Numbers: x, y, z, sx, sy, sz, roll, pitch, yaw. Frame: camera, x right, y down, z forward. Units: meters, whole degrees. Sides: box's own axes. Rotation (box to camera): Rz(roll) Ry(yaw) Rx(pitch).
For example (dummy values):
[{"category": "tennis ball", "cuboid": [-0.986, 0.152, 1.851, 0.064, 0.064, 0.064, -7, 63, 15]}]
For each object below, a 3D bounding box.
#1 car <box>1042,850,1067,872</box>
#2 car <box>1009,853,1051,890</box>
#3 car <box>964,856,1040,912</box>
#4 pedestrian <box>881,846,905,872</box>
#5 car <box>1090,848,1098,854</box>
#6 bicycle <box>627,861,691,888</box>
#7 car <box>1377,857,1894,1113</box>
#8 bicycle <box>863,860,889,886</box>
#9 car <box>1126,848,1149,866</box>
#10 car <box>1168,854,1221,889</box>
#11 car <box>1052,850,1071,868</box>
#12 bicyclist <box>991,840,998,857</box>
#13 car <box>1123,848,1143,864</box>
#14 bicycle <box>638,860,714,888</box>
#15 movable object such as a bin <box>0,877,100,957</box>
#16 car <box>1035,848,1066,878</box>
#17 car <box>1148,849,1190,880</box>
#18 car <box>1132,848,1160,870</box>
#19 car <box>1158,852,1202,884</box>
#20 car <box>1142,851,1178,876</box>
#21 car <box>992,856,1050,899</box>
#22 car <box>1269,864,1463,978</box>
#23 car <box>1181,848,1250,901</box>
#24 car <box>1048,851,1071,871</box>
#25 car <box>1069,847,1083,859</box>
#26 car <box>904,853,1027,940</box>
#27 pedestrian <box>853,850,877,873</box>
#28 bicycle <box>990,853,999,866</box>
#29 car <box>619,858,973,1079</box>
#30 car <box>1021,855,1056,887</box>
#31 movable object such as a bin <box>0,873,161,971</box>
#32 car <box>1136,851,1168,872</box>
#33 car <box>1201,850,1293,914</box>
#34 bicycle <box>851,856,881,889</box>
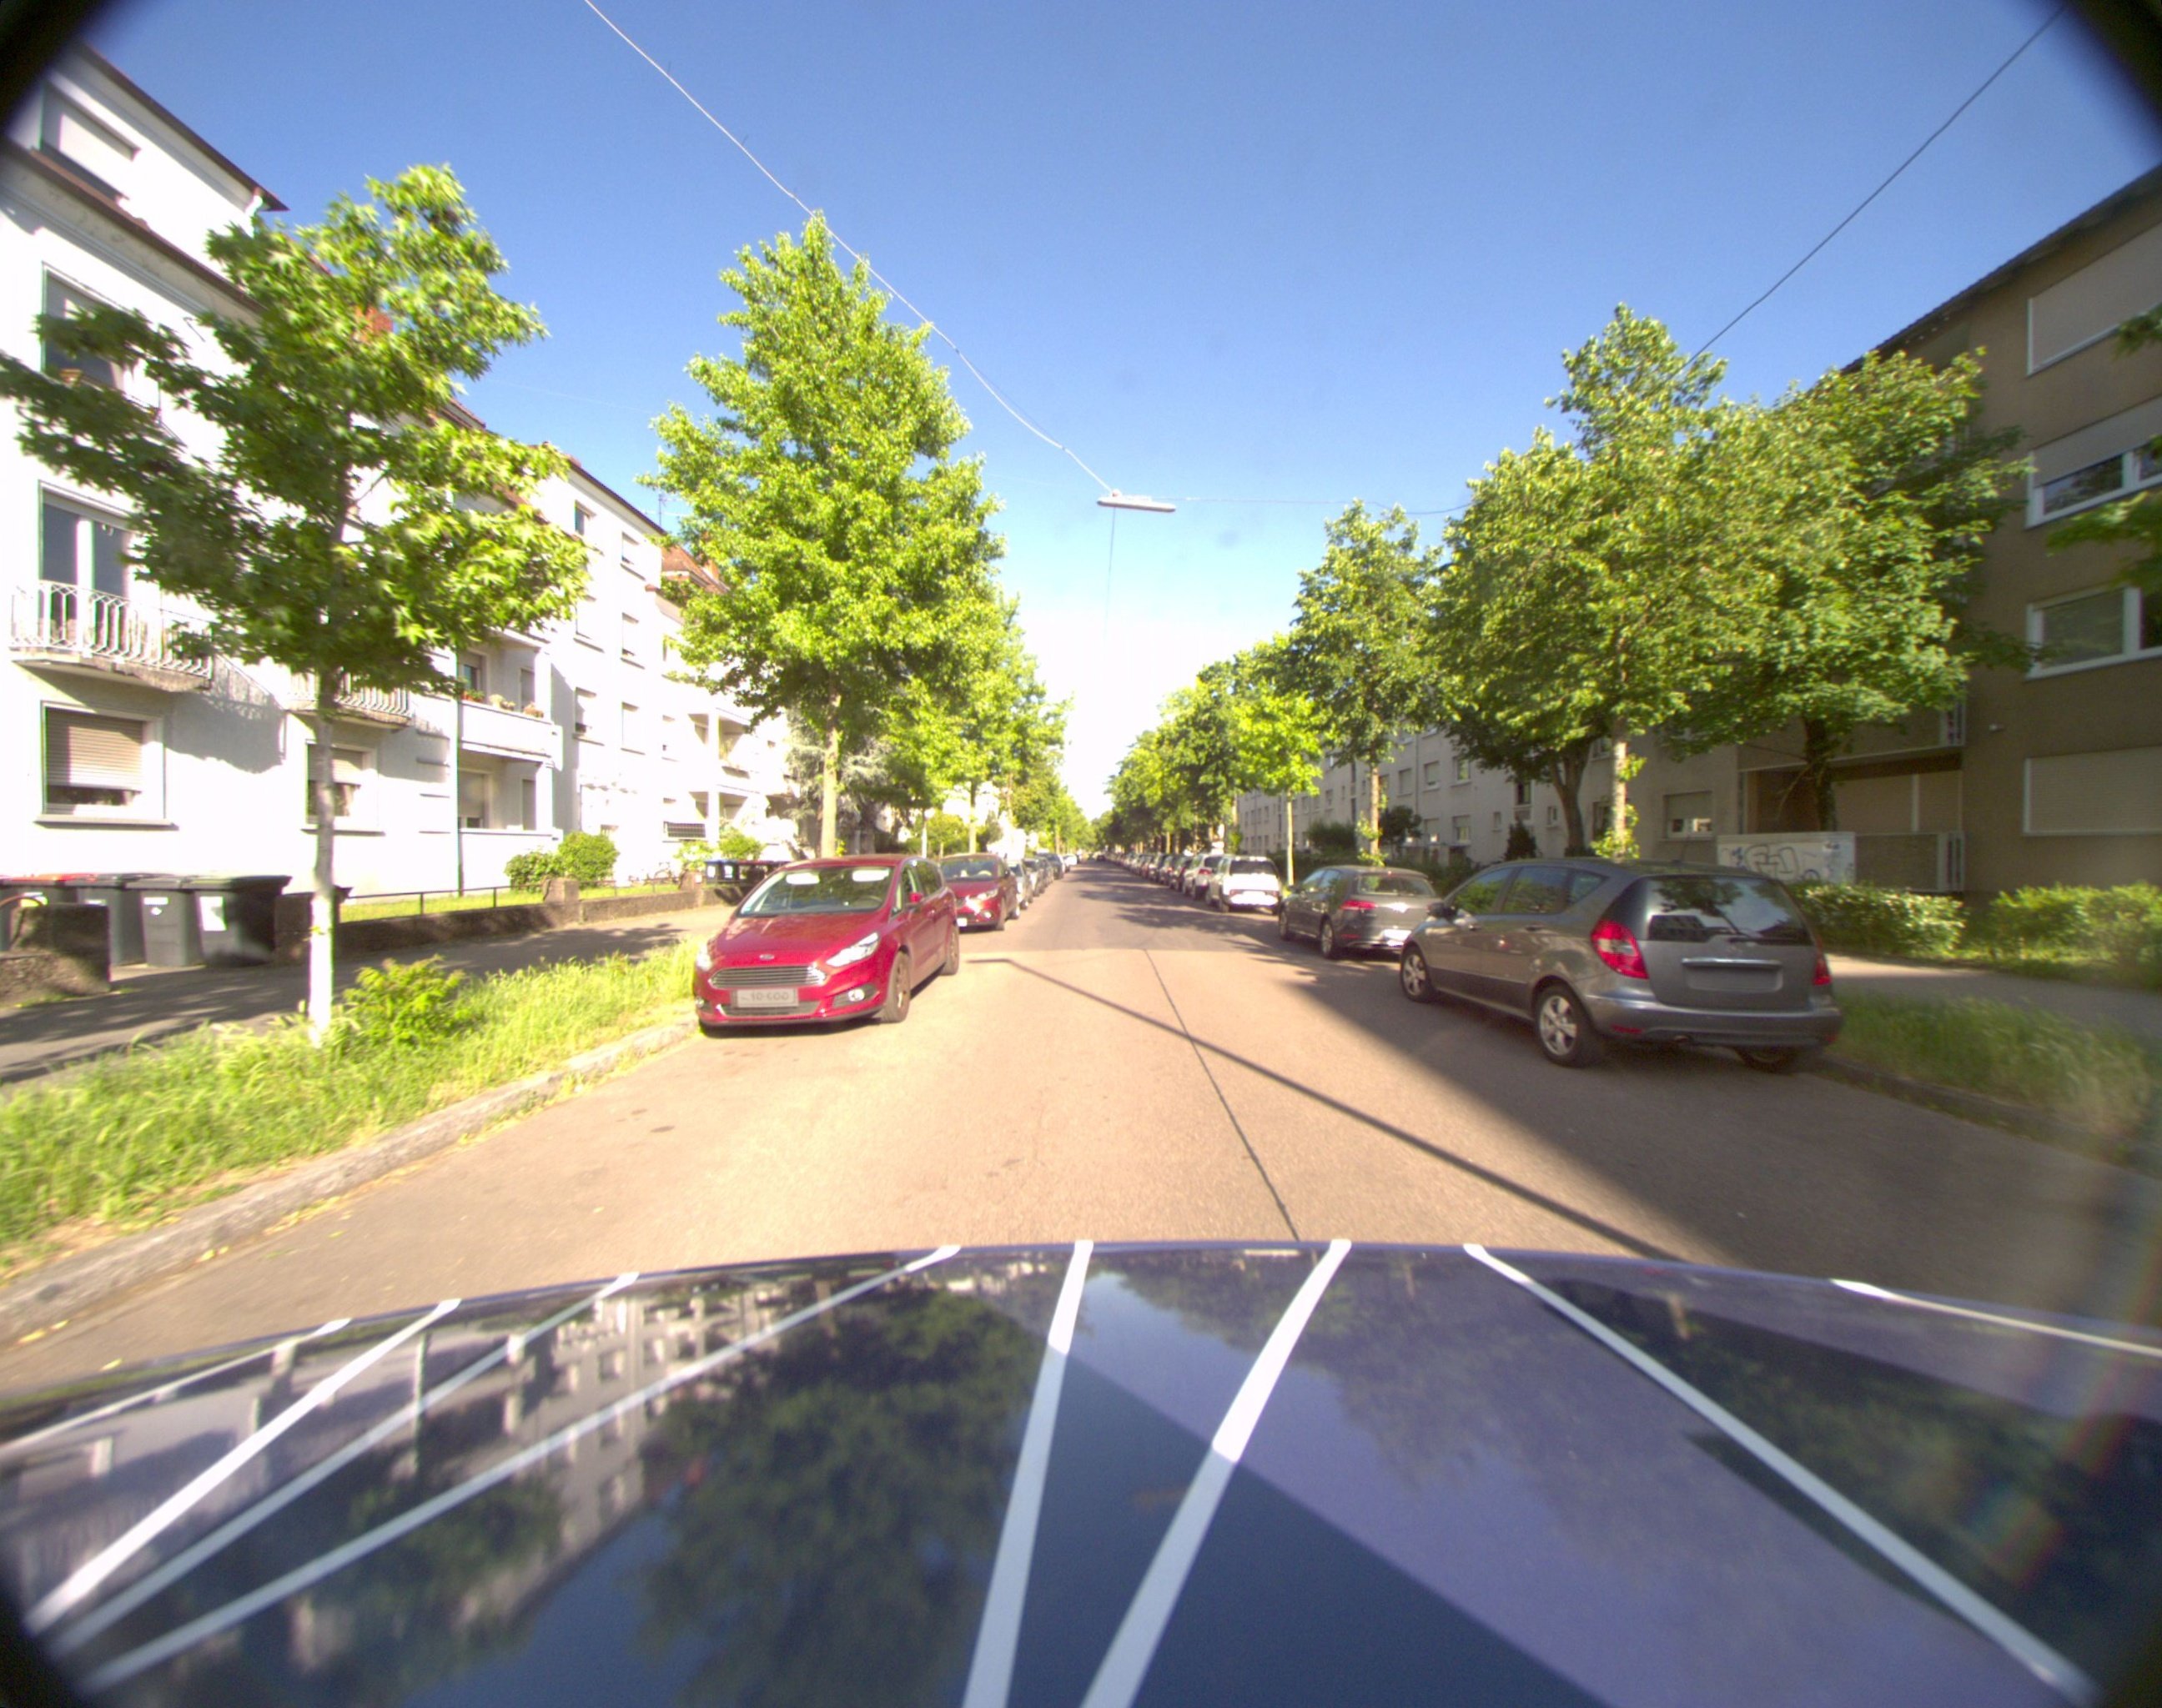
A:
[{"category": "car", "cuboid": [-1.922, 0.508, 56.603, 1.769, 1.487, 3.932, -2, 1, -1]}, {"category": "car", "cuboid": [-2.200, 0.729, 33.684, 1.609, 1.456, 3.870, -2, 1, -1]}, {"category": "car", "cuboid": [-2.287, 0.820, 22.975, 1.715, 1.399, 4.490, 1, 1, 1]}, {"category": "pedestrian", "cuboid": [-9.933, 0.244, 40.214, 1.038, 1.370, 0.714, -1, 2, -34]}, {"category": "car", "cuboid": [3.123, -0.733, 186.606, 1.769, 1.486, 3.782, 0, 0, -1]}, {"category": "bicycle", "cuboid": [-15.057, 0.729, 27.129, 2.034, 0.913, 0.559, 1, 2, 5]}, {"category": "car", "cuboid": [4.381, 0.861, 6.973, 1.724, 1.553, 4.107, 1, 1, 0]}, {"category": "bicycle", "cuboid": [-8.822, 0.791, 32.790, 0.433, 1.006, 2.248, -6, 1, -1]}, {"category": "car", "cuboid": [5.293, 0.267, 71.490, 1.768, 1.487, 4.014, -2, 1, 0]}, {"category": "car", "cuboid": [4.834, 0.709, 32.833, 1.662, 1.384, 4.236, 0, 0, 0]}, {"category": "car", "cuboid": [-1.688, 0.441, 66.839, 1.609, 1.402, 3.669, -2, 1, -1]}, {"category": "bicyclist", "cuboid": [-7.004, -0.438, 61.661, 0.497, 1.331, 0.719, 1, 2, 1]}, {"category": "car", "cuboid": [5.409, 0.160, 79.136, 1.768, 1.487, 4.014, -2, 1, 0]}, {"category": "bicycle", "cuboid": [-13.132, 0.643, 24.652, 2.065, 0.765, 0.626, -4, 1, 1]}, {"category": "movable object such as a bin", "cuboid": [-12.626, 0.741, 8.949, 0.777, 0.858, 1.010, -2, 1, 6]}, {"category": "car", "cuboid": [-1.820, 0.512, 46.439, 1.769, 1.627, 4.014, -2, 1, -1]}, {"category": "car", "cuboid": [4.877, 0.548, 42.541, 1.820, 1.576, 4.408, 1, 0, 0]}, {"category": "car", "cuboid": [5.059, 0.347, 59.805, 1.879, 1.553, 4.182, 1, 1, 0]}, {"category": "car", "cuboid": [4.842, 0.656, 37.626, 1.653, 1.437, 3.966, 1, 1, 0]}, {"category": "car", "cuboid": [4.903, 0.565, 47.617, 1.879, 1.367, 4.068, 1, 1, 0]}, {"category": "car", "cuboid": [-2.224, 0.846, 28.941, 1.768, 1.389, 3.695, -2, 1, 1]}, {"category": "car", "cuboid": [4.487, 0.964, 12.652, 1.664, 1.387, 4.091, -2, 1, 0]}, {"category": "car", "cuboid": [4.686, 0.661, 26.966, 1.707, 1.670, 4.223, 1, 1, 0]}, {"category": "car", "cuboid": [-1.733, 0.563, 62.090, 1.769, 1.487, 4.014, -2, 1, -1]}, {"category": "car", "cuboid": [-0.662, -0.149, 102.930, 1.891, 1.624, 3.888, 0, 1, 1]}, {"category": "car", "cuboid": [-2.429, 0.828, 17.151, 1.934, 1.558, 4.593, 2, 1, 1]}, {"category": "pedestrian", "cuboid": [-11.422, 0.395, 40.157, 1.036, 1.136, 0.716, -2, 2, -5]}, {"category": "bicycle", "cuboid": [-7.023, 0.441, 61.697, 0.459, 0.956, 1.787, 1, 1, 1]}, {"category": "car", "cuboid": [-2.613, 0.932, 8.505, 1.903, 1.604, 4.972, -1, 1, 2]}, {"category": "car", "cuboid": [-2.141, 0.840, 39.298, 1.609, 1.416, 4.014, -2, 1, -1]}, {"category": "movable object such as a bin", "cuboid": [-11.779, 0.770, 8.866, 0.777, 1.021, 1.010, -2, 1, 6]}, {"category": "car", "cuboid": [5.040, 0.515, 54.170, 1.879, 1.367, 4.182, 1, 1, 0]}, {"category": "car", "cuboid": [4.621, 0.716, 21.698, 1.721, 1.517, 3.999, -2, 1, 0]}, {"category": "bicycle", "cuboid": [-8.431, 0.713, 29.902, 0.490, 1.190, 2.175, -2, 1, 0]}]
